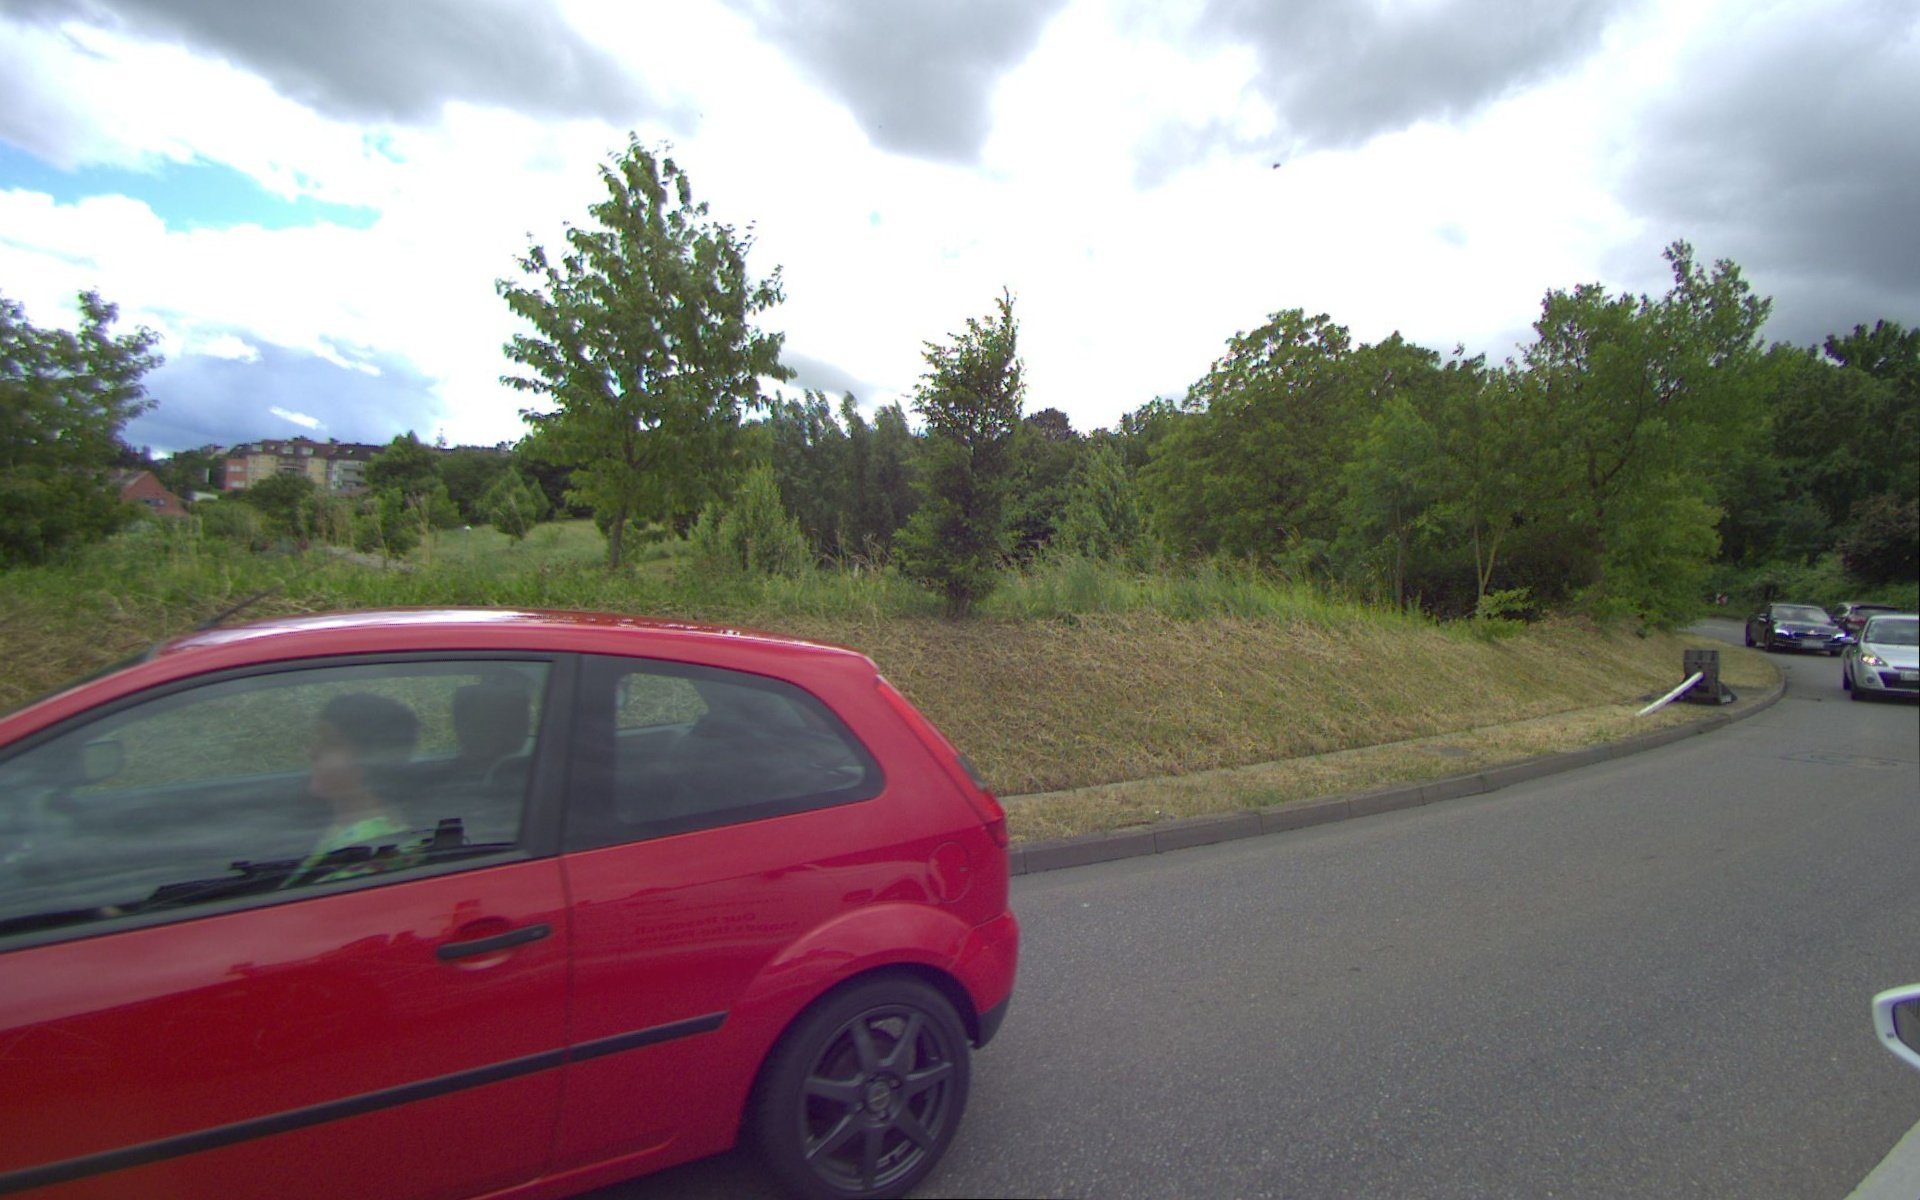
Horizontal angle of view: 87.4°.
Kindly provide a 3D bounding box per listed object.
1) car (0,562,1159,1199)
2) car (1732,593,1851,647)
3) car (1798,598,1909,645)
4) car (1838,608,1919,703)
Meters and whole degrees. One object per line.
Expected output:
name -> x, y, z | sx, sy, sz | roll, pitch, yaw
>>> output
car -> -1.439, 0.667, 2.634 | 3.712, 1.435, 1.731 | 0, 0, -33
car -> 25.574, 0.625, 31.069 | 1.709, 1.515, 4.432 | 1, -1, 24
car -> 30.969, 0.719, 34.965 | 1.811, 1.503, 3.996 | 0, 0, 25
car -> 16.779, 0.921, 17.815 | 1.754, 1.515, 3.893 | 2, 1, 42
